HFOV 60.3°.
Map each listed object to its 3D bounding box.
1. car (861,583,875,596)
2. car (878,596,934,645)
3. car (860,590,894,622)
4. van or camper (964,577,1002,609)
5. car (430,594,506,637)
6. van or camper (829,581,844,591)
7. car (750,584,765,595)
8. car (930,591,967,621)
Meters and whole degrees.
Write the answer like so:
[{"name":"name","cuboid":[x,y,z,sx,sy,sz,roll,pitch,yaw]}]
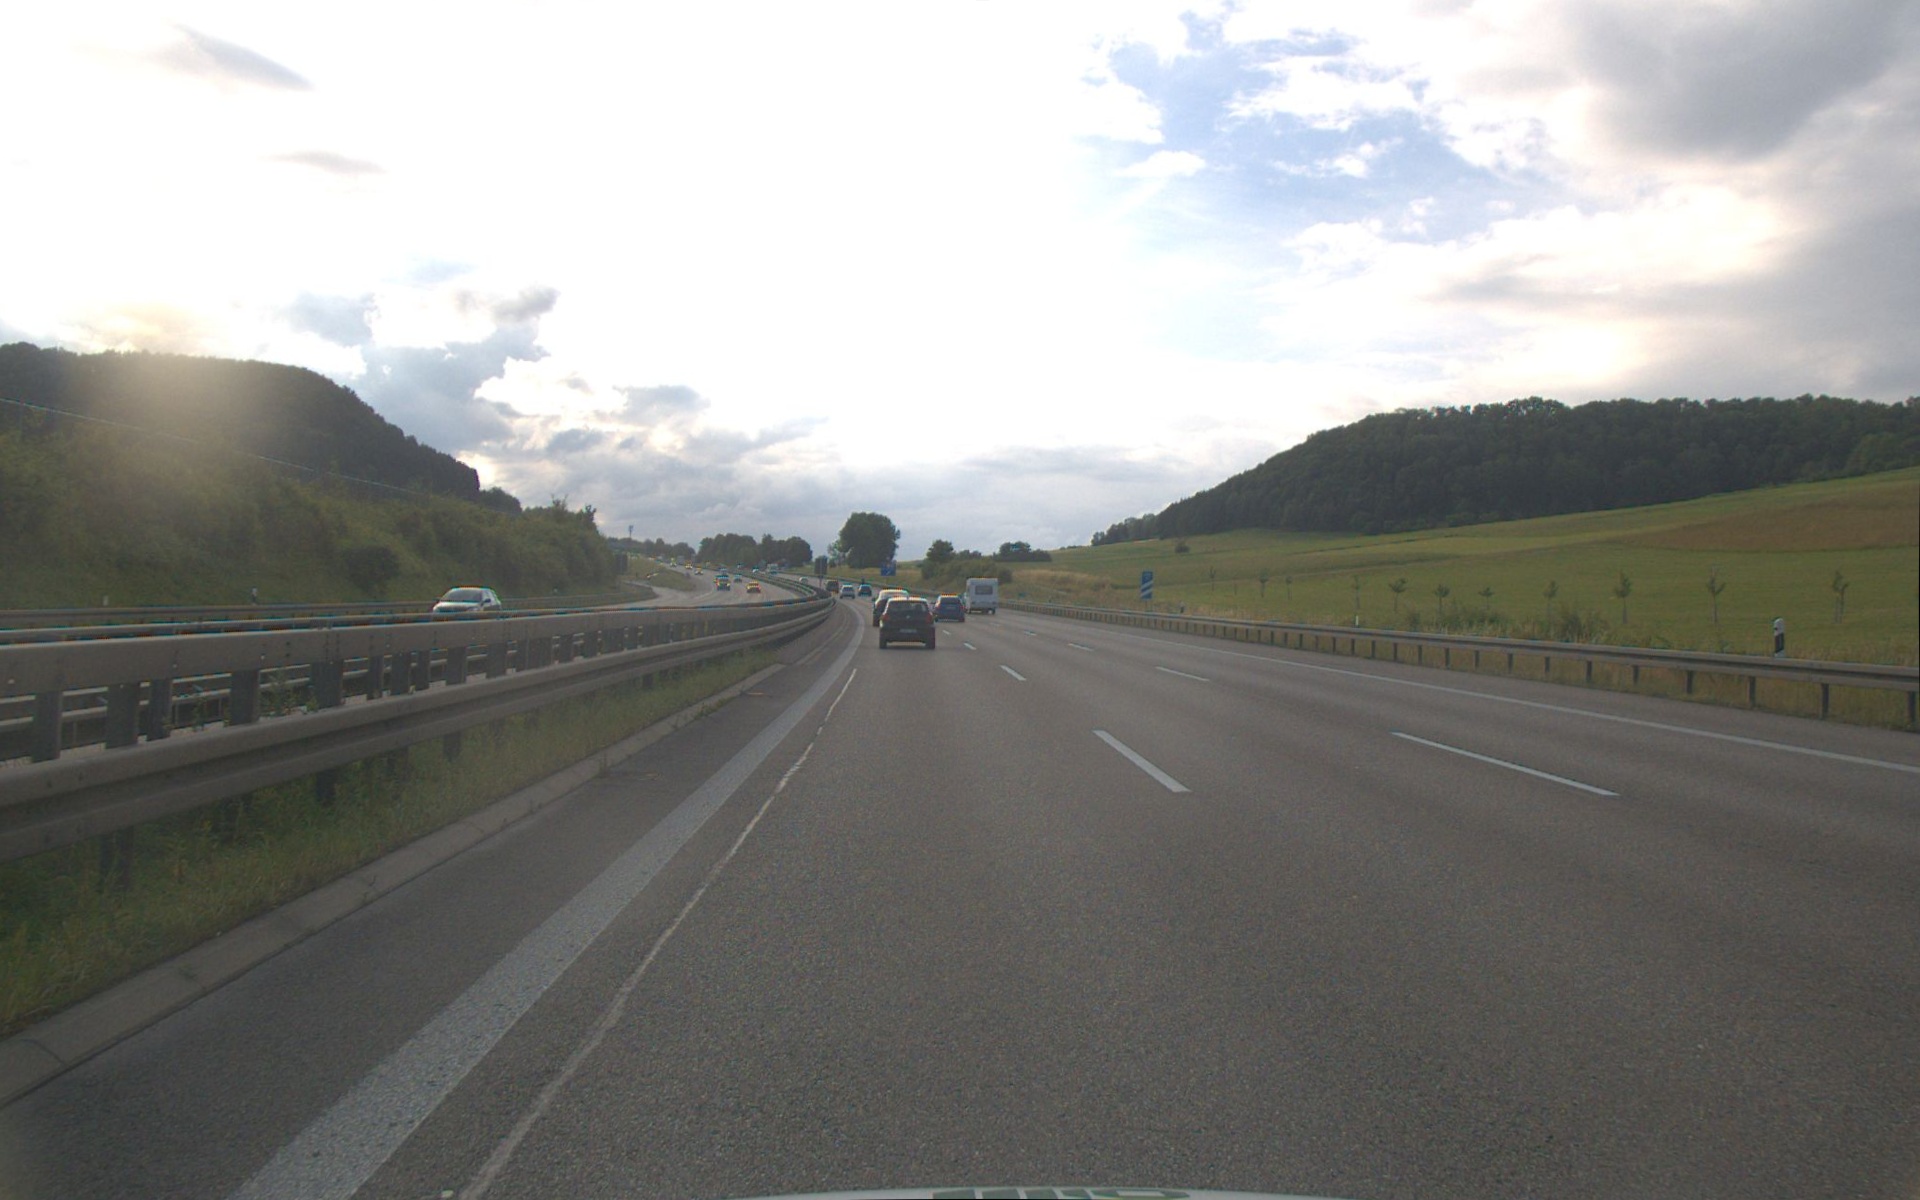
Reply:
[{"name":"car","cuboid":[-12.391,-1.412,222.613,1.918,1.601,3.998,1,0,-3]},{"name":"car","cuboid":[-1.632,0.579,48.981,1.508,1.371,3.673,0,0,-4]},{"name":"car","cuboid":[-3.820,0.248,76.184,1.534,1.404,3.998,0,1,-3]},{"name":"van or camper","cuboid":[1.625,-0.531,120.683,2.496,2.278,5.327,0,0,-2]},{"name":"car","cuboid":[-17.429,0.517,58.731,1.672,1.440,3.997,1,0,-3]},{"name":"van or camper","cuboid":[-17.850,-2.055,239.878,1.926,1.458,3.999,1,0,-1]},{"name":"car","cuboid":[-27.774,-1.459,226.674,1.955,1.455,4.581,1,0,-7]},{"name":"car","cuboid":[-0.657,0.345,92.478,1.732,1.458,3.997,6,-1,-3]}]
